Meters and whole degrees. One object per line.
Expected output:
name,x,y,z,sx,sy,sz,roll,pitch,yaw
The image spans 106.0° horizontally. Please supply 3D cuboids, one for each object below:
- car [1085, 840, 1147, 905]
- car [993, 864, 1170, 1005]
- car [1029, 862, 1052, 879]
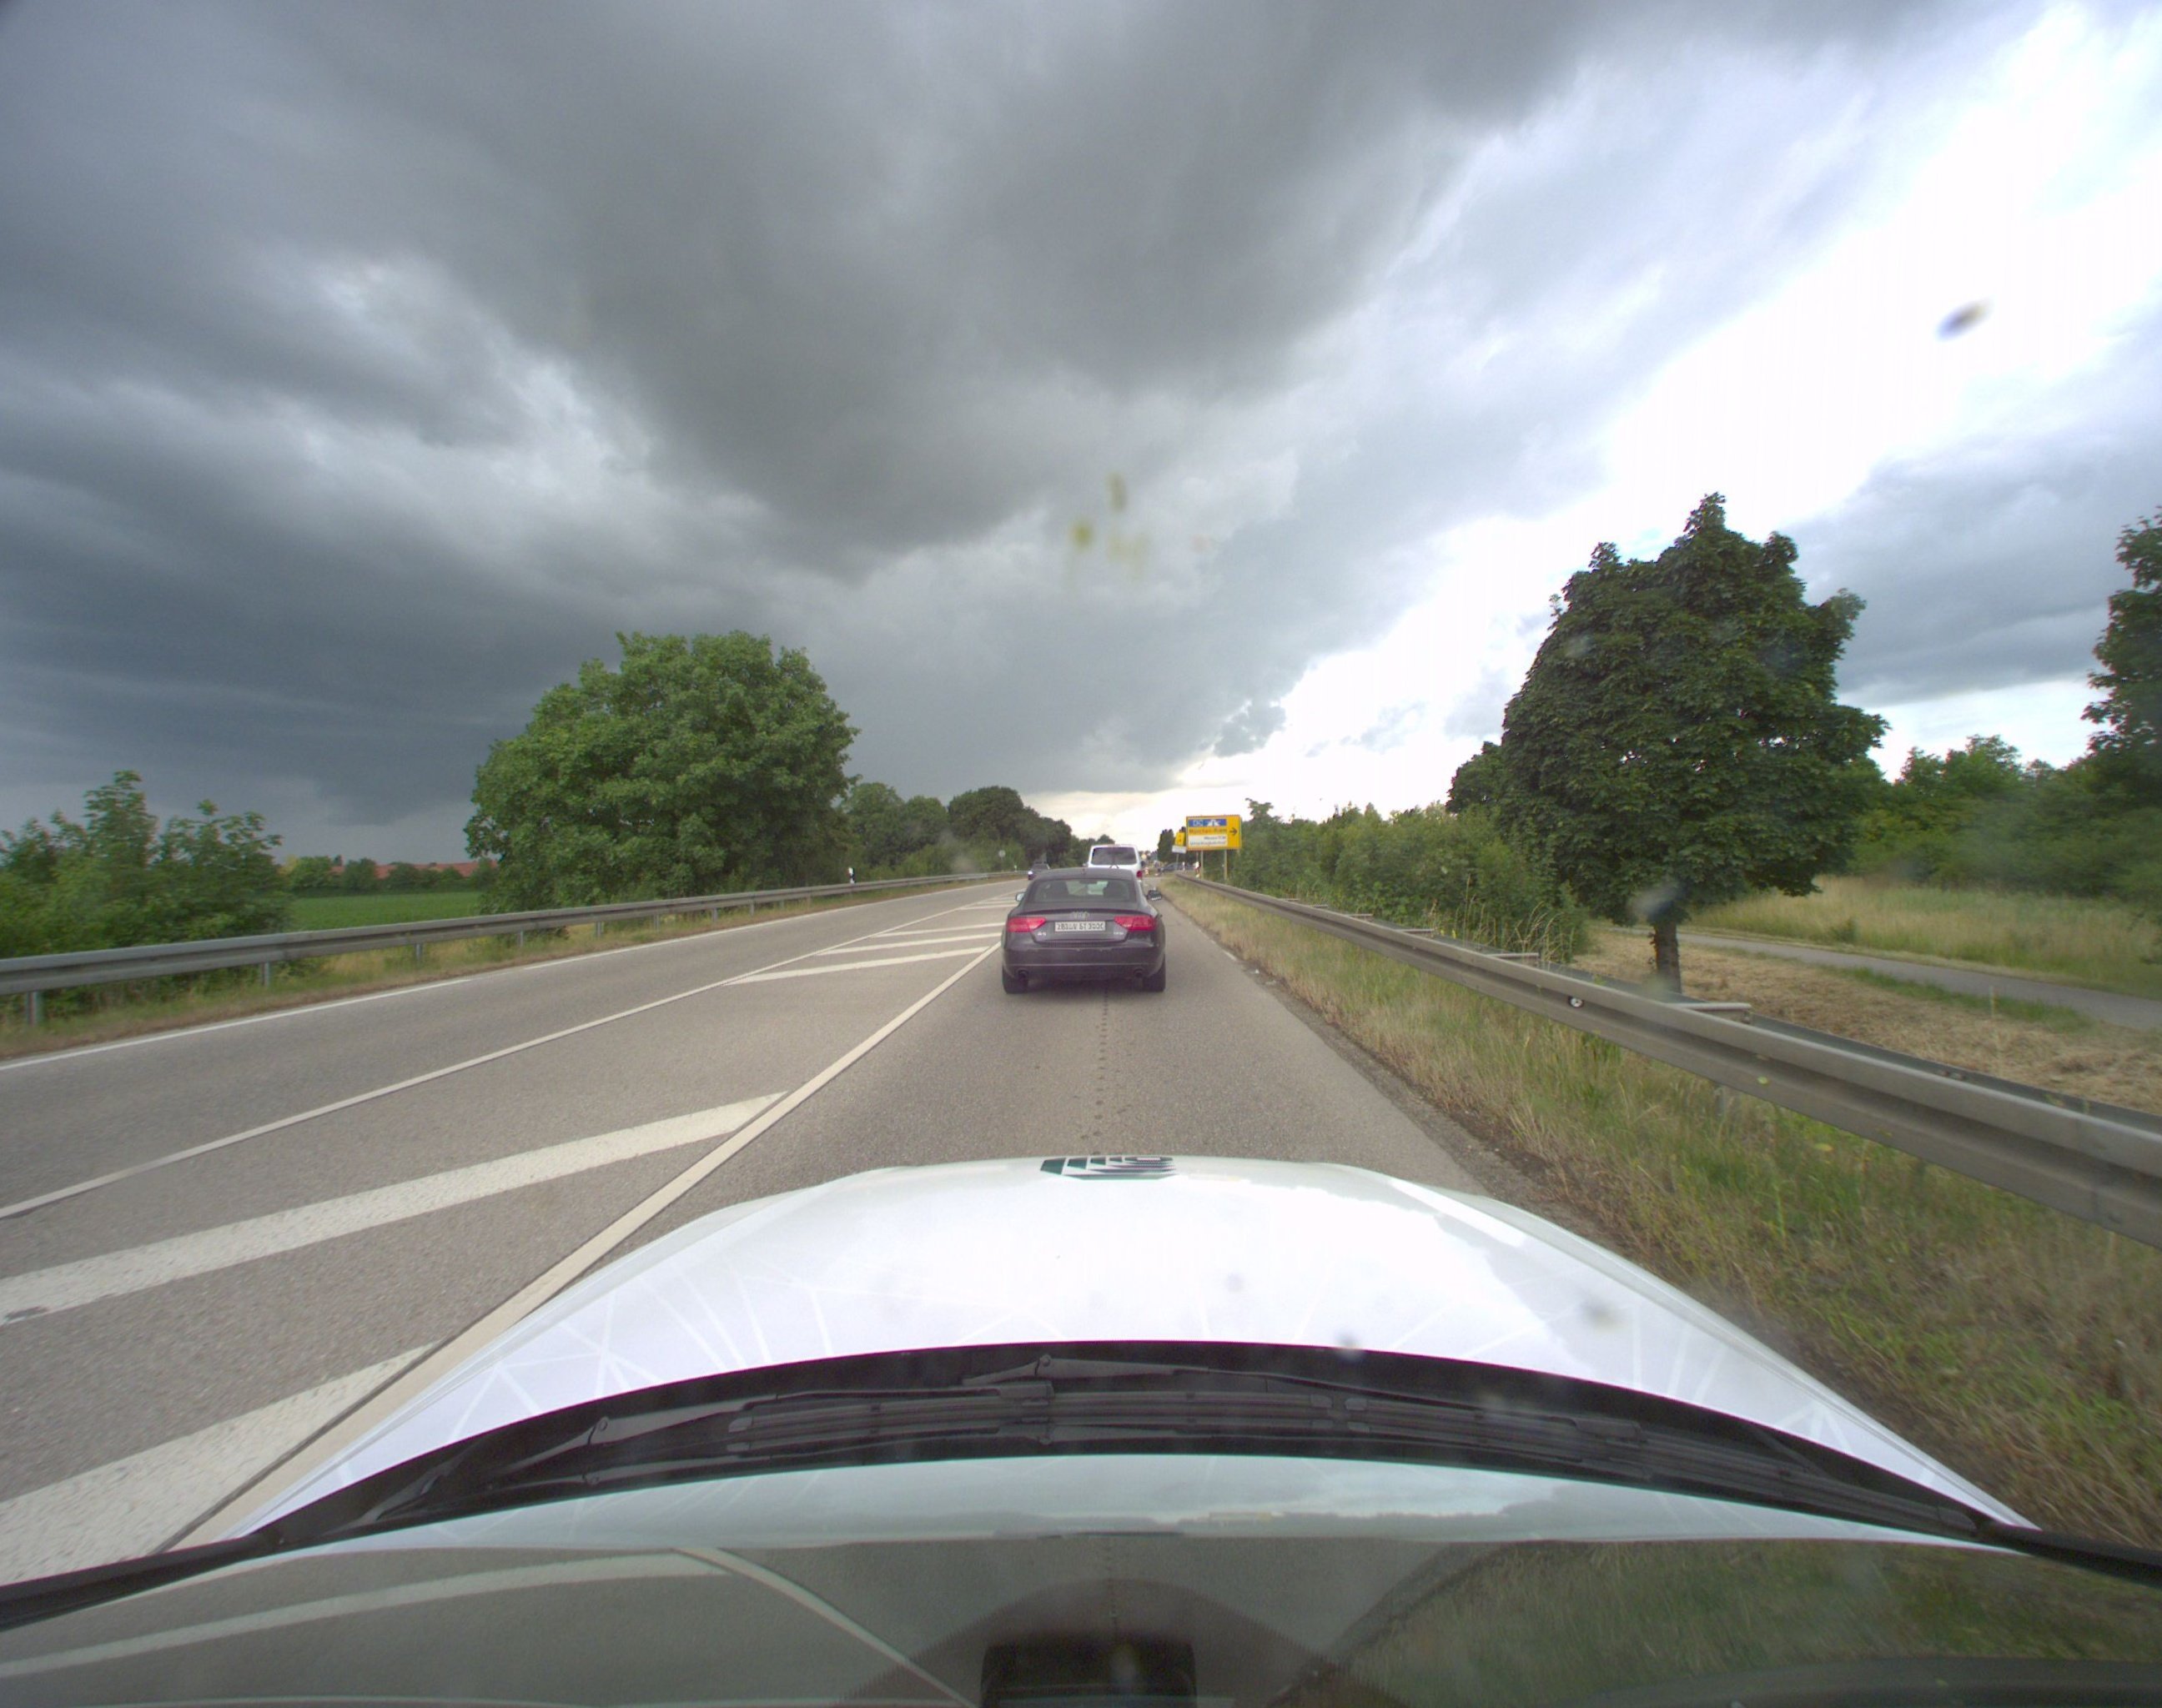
car,1.144,0.580,27.229,1.903,2.014,4.002,0,0,2
car,0.053,0.833,9.908,1.773,1.399,3.337,-1,-1,2
car,-3.466,1.450,70.820,1.616,1.379,4.514,-1,0,2
